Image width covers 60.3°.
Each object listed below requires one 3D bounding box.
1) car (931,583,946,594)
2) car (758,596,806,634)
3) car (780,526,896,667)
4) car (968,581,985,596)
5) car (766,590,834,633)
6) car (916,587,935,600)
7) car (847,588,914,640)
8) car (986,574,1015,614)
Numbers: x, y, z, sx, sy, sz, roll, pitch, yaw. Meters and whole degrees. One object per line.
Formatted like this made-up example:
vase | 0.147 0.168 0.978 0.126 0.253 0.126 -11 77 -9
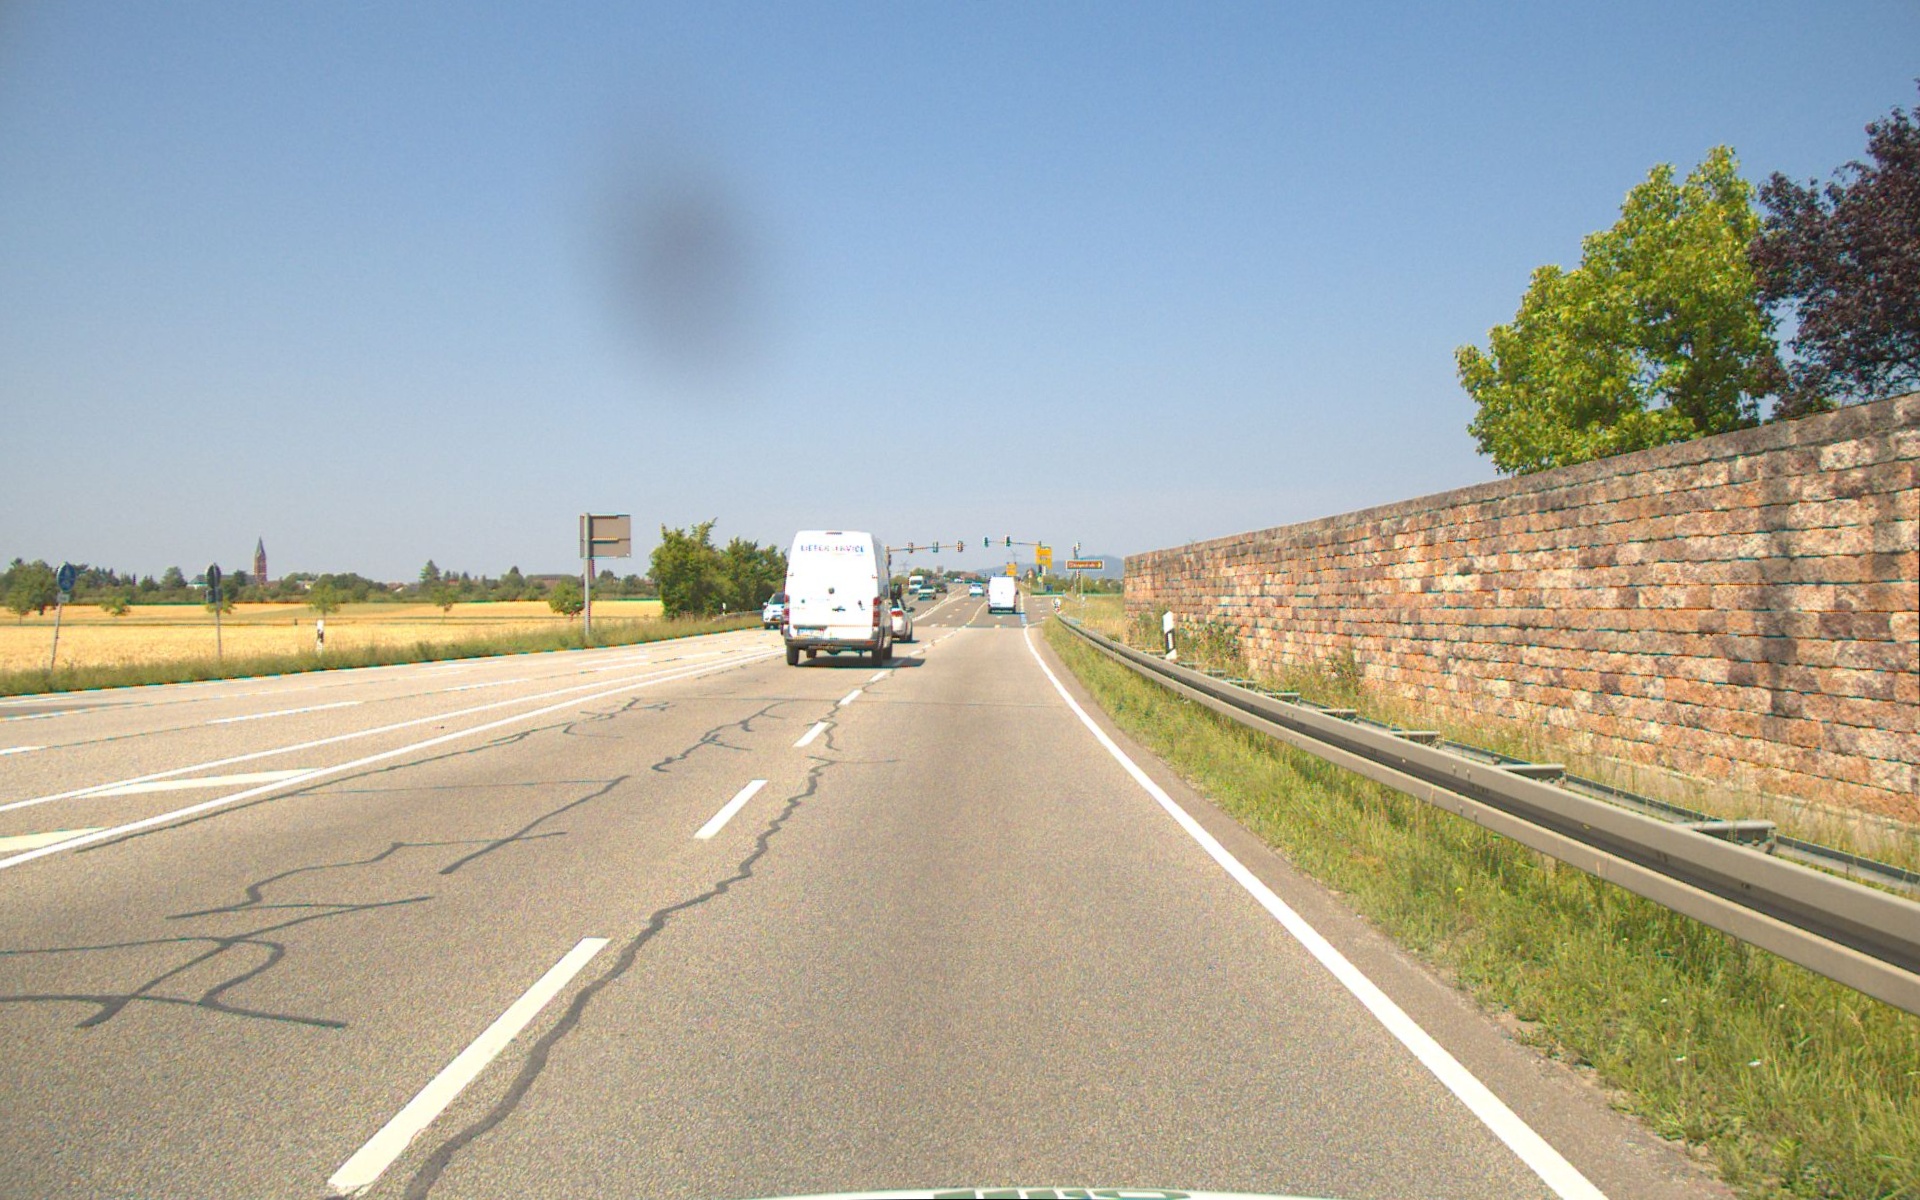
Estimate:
car | -3.074 -1.639 236.876 1.818 1.448 4.001 1 0 3
car | -8.446 0.695 78.771 1.630 1.706 4.464 -1 0 2
car | -2.474 -0.073 34.940 1.997 2.665 5.740 2 0 0
car | 2.089 -1.457 204.124 1.952 1.733 4.276 1 0 2
car | -5.822 0.390 60.737 1.722 1.483 4.234 0 1 5
car | -3.801 -0.708 184.874 1.818 1.448 4.002 -1 0 3
car | -2.431 0.415 51.448 1.762 1.534 4.197 -1 0 1
car | 2.833 -0.428 115.931 1.952 2.742 4.970 -1 0 1
